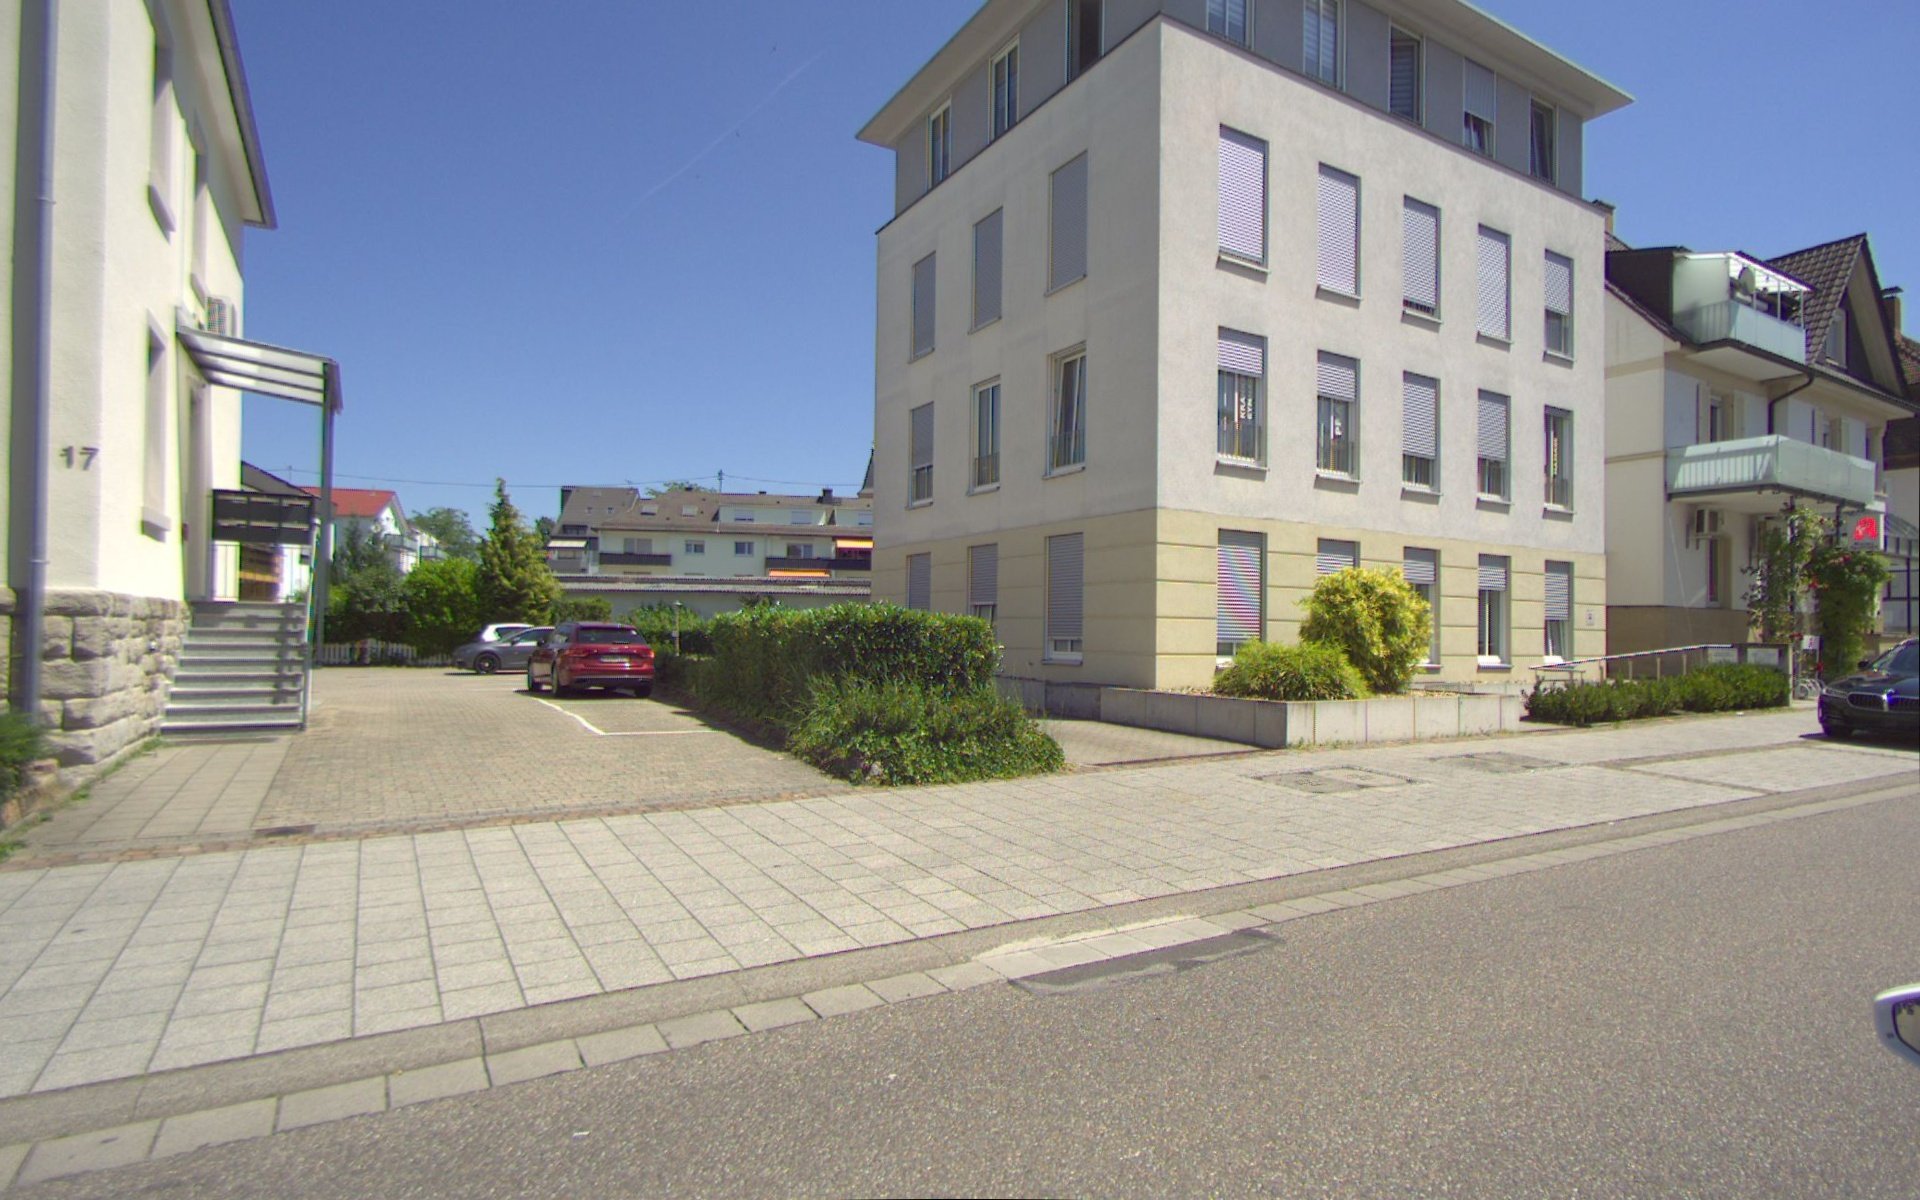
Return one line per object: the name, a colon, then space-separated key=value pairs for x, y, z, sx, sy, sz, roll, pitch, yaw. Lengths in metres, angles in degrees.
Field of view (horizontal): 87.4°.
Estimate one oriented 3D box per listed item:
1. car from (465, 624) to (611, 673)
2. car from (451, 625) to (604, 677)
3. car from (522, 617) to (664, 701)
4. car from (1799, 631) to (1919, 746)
car: x=-13.774 y=1.564 z=32.843 sx=4.141 sy=1.494 sz=1.983 roll=2 pitch=-2 yaw=-32
car: x=-12.952 y=1.514 z=30.128 sx=3.998 sy=1.457 sz=1.940 roll=2 pitch=-2 yaw=-31
car: x=-7.405 y=1.111 z=20.023 sx=1.856 sy=1.494 sz=4.151 roll=2 pitch=-2 yaw=-32
car: x=14.908 y=1.289 z=15.105 sx=5.089 sy=1.471 sz=1.907 roll=2 pitch=1 yaw=-31
